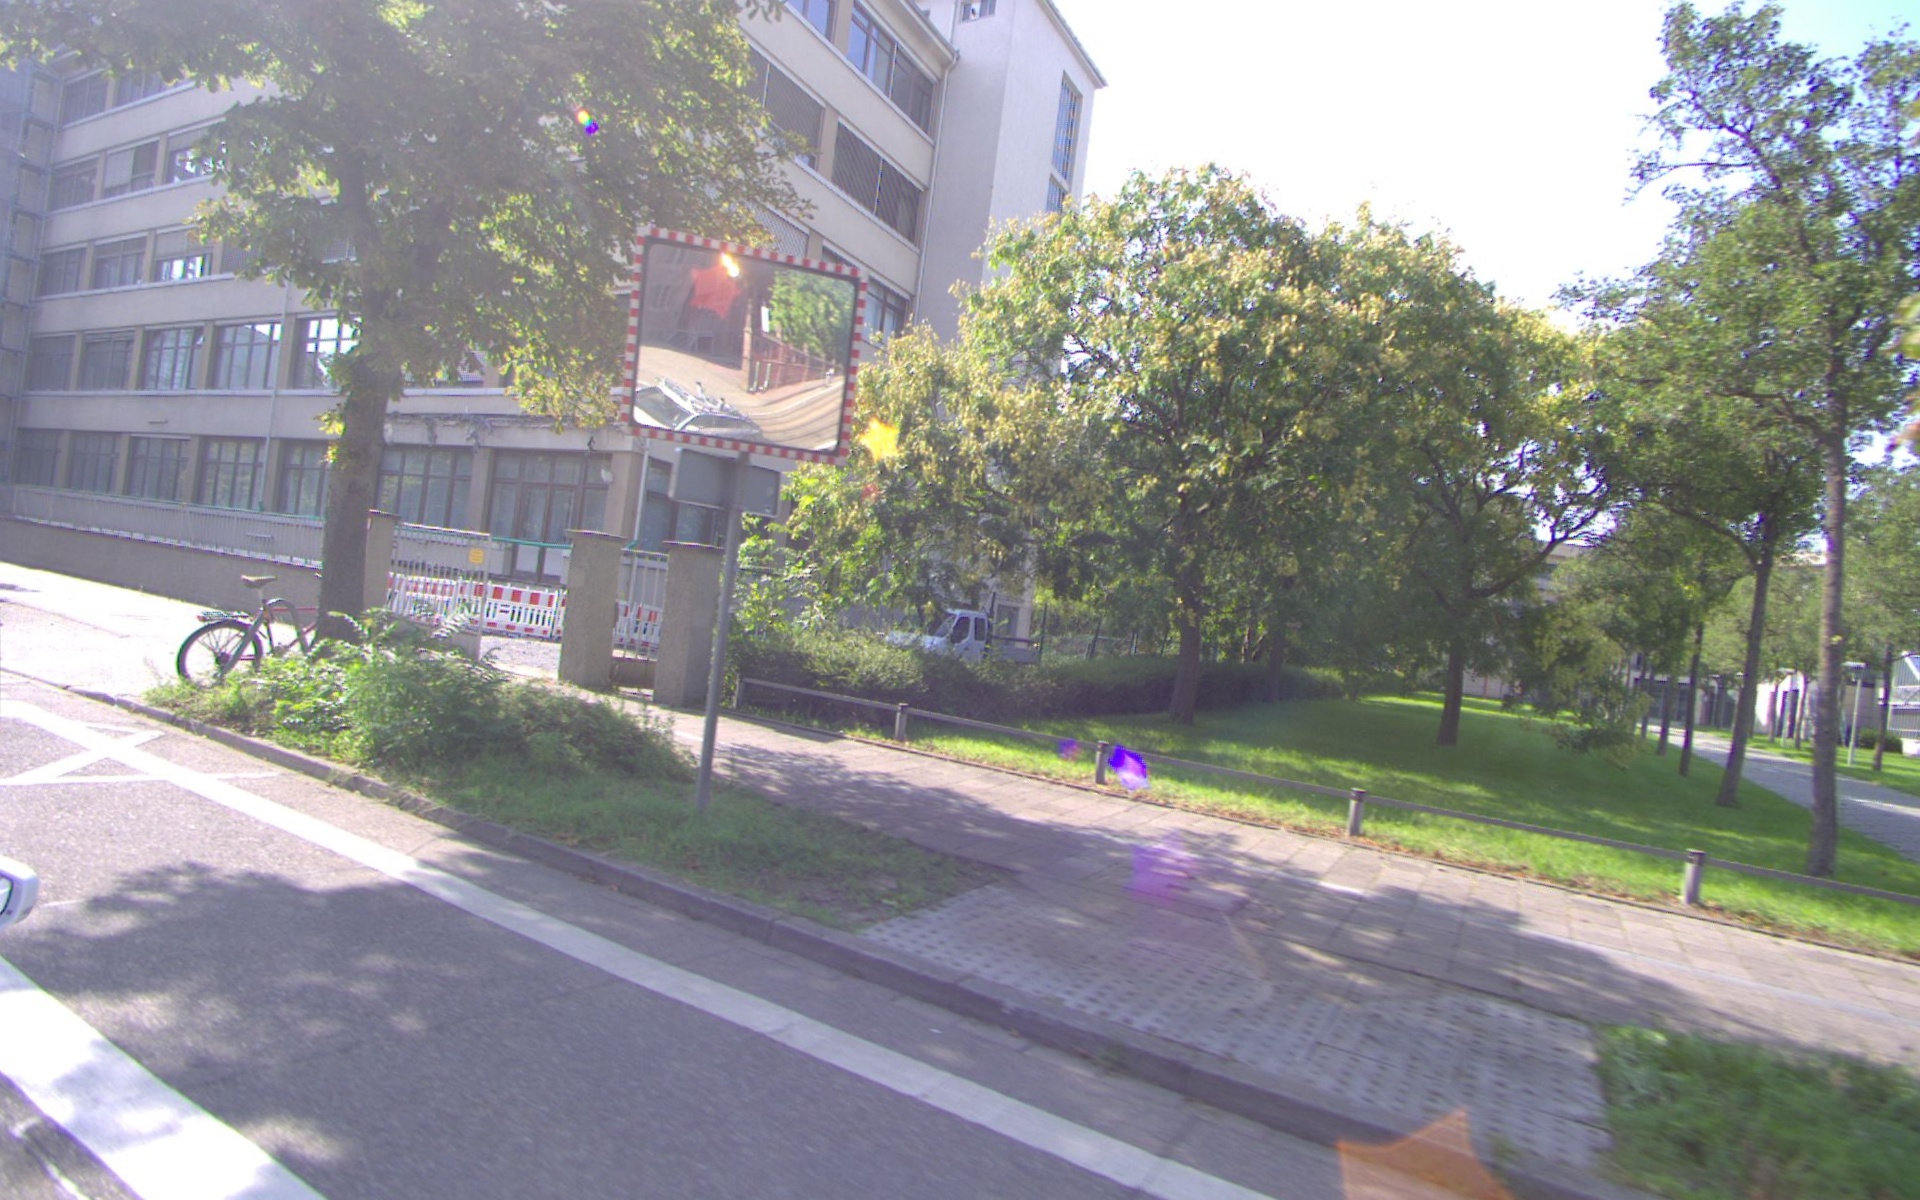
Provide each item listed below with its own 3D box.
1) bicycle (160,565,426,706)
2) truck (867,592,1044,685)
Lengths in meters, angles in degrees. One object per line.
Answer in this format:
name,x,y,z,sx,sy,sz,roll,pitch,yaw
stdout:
bicycle,-5.913,0.321,9.035,0.782,1.077,1.771,6,1,28
truck,0.077,1.268,30.254,2.085,2.241,6.579,6,-2,30
